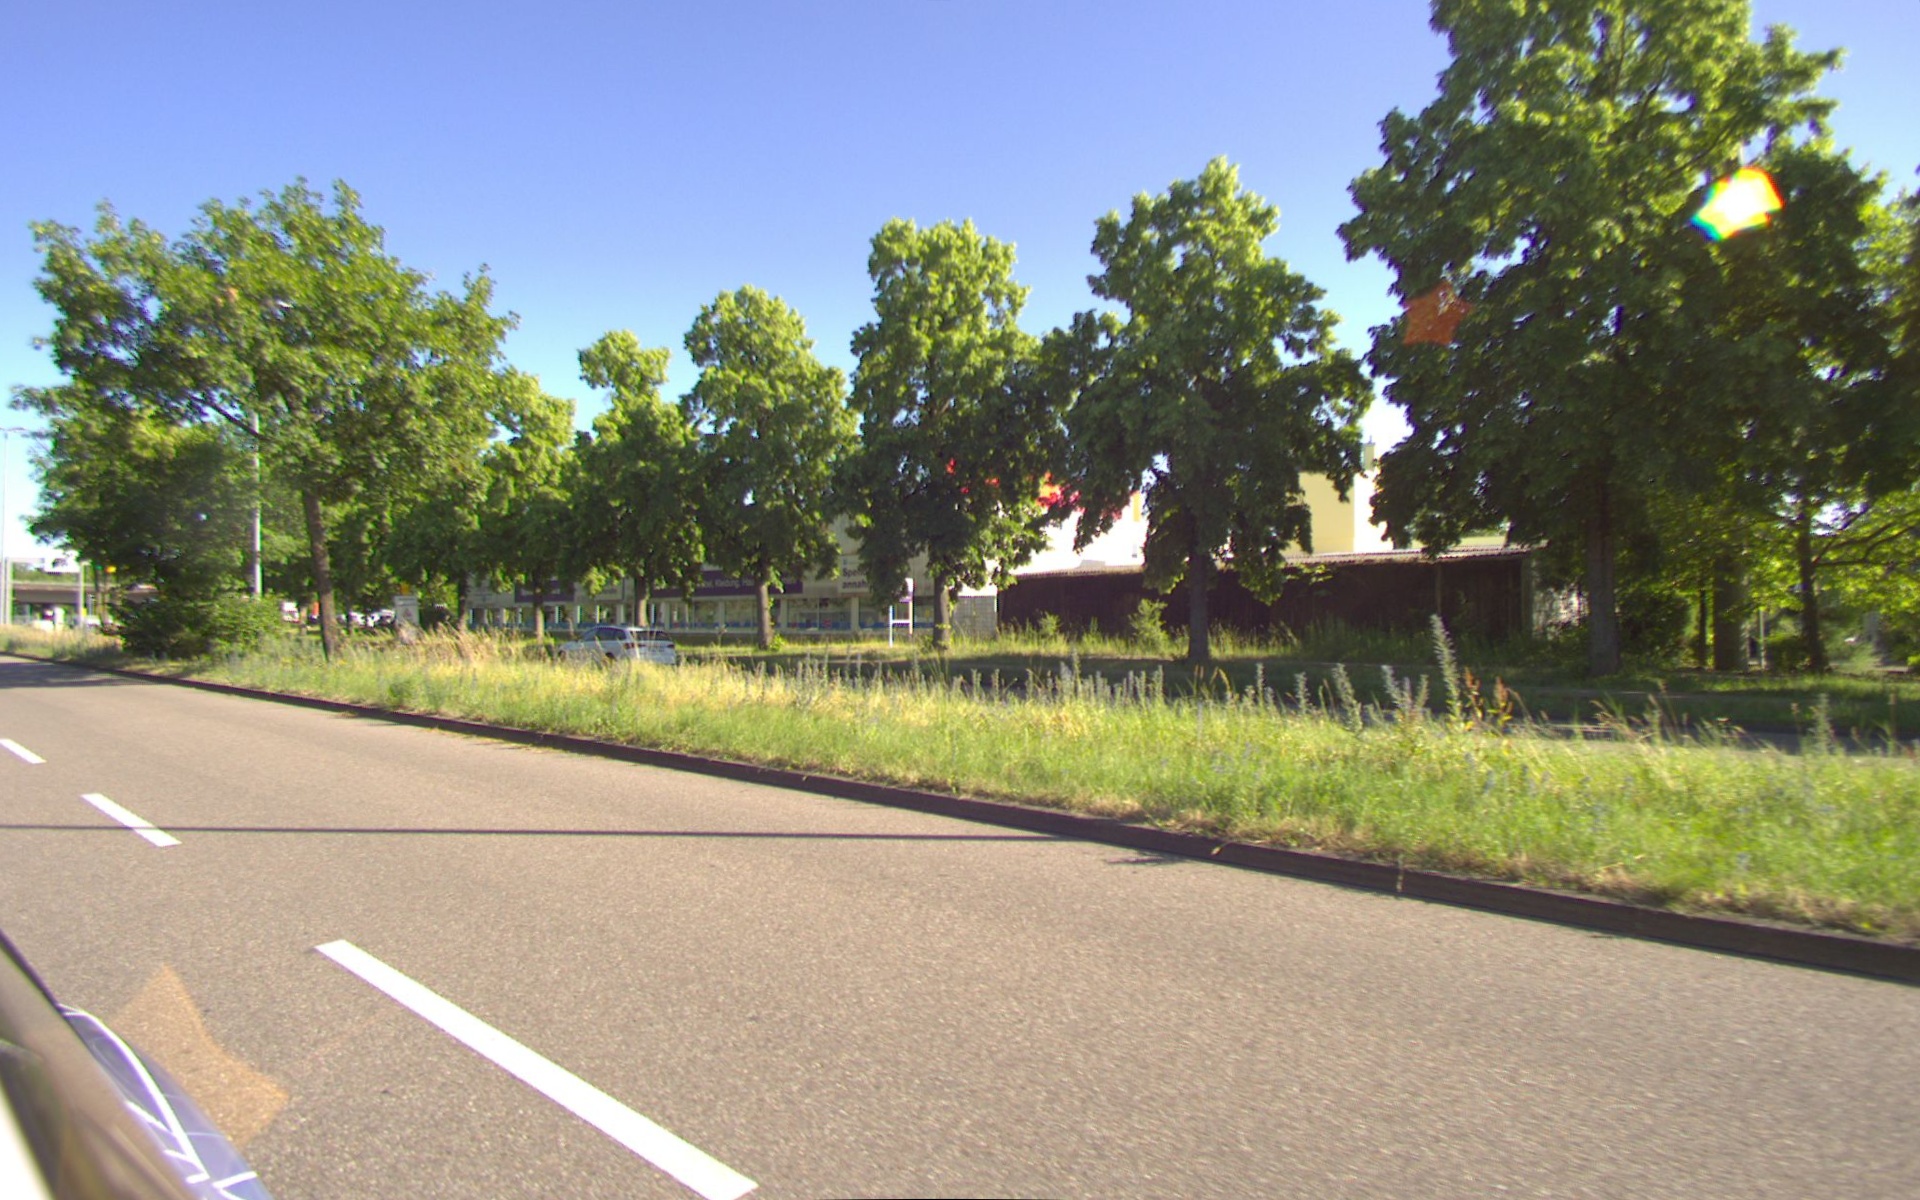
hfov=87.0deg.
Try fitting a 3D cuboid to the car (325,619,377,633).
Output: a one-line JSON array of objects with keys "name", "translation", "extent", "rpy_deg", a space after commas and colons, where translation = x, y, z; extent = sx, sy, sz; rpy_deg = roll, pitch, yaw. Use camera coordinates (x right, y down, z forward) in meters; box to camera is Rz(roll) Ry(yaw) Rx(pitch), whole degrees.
[{"name": "car", "translation": [-61.404, 2.661, 102.137], "extent": [1.944, 1.399, 4.079], "rpy_deg": [-1, -3, 37]}]

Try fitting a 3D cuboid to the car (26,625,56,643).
[{"name": "car", "translation": [-93.883, 3.489, 103.393], "extent": [4.162, 1.760, 1.689], "rpy_deg": [-1, -2, 40]}]

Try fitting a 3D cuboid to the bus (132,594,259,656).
[{"name": "bus", "translation": [-38.387, 1.310, 50.603], "extent": [11.080, 2.742, 2.693], "rpy_deg": [-2, -5, 41]}]

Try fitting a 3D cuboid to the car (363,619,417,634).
[{"name": "car", "translation": [-55.071, 2.606, 97.813], "extent": [1.943, 1.399, 4.079], "rpy_deg": [-1, -3, 37]}]

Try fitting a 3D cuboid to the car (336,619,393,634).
[{"name": "car", "translation": [-59.398, 2.637, 100.963], "extent": [1.946, 1.399, 4.571], "rpy_deg": [-2, -3, 41]}]

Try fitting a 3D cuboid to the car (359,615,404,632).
[{"name": "car", "translation": [-75.101, 3.085, 131.372], "extent": [4.989, 2.168, 1.890], "rpy_deg": [0, -2, 9]}]

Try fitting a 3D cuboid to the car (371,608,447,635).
[{"name": "car", "translation": [-51.284, 2.015, 94.251], "extent": [2.203, 2.452, 5.822], "rpy_deg": [-1, -3, 37]}]

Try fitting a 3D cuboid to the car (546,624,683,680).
[{"name": "car", "translation": [-10.169, 1.526, 29.638], "extent": [4.527, 1.532, 1.737], "rpy_deg": [-2, -5, 41]}]
